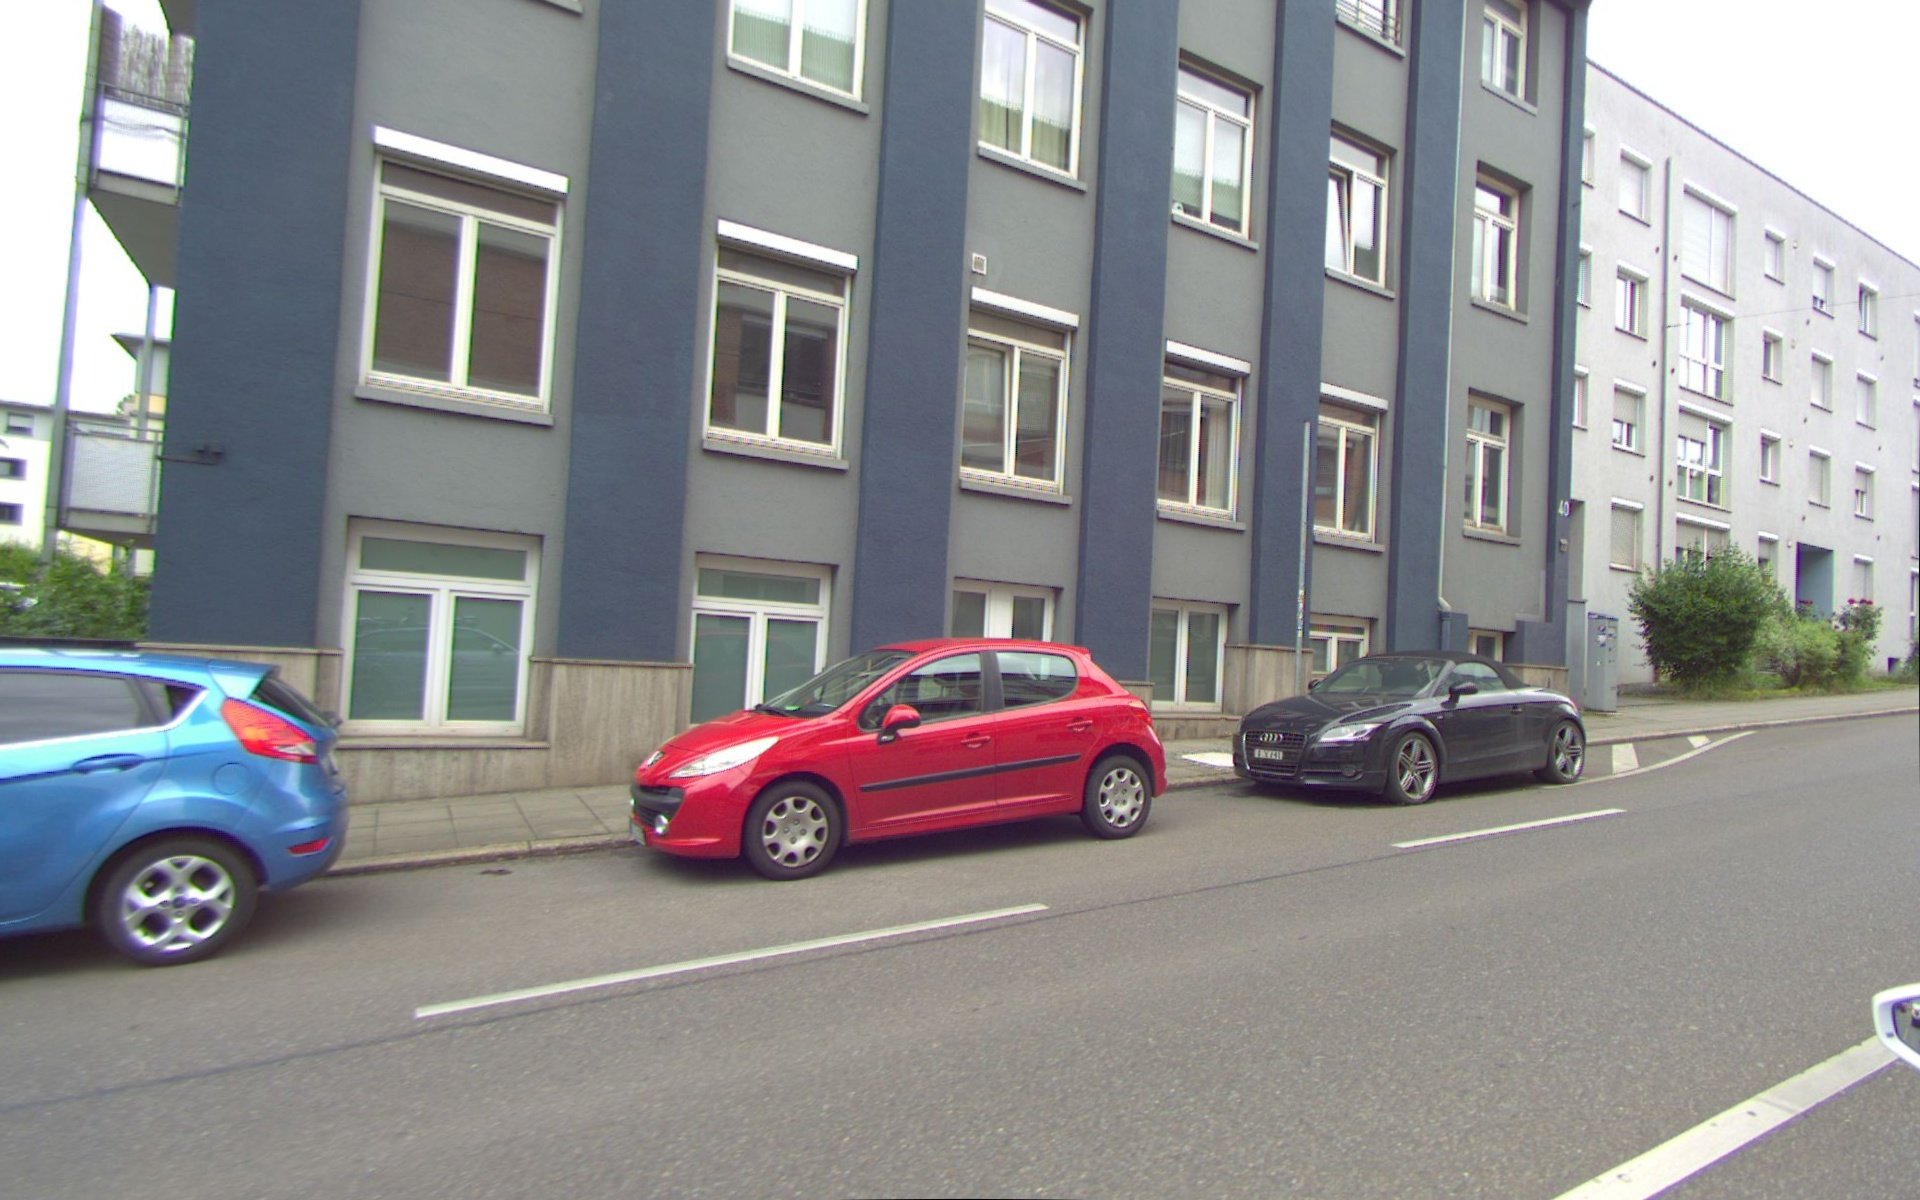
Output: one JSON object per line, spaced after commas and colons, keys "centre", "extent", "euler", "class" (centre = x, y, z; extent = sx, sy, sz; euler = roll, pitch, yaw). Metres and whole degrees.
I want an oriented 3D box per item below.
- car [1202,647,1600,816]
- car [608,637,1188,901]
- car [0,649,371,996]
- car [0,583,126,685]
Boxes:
{"centre": [4.458, 1.180, 10.068], "extent": [3.858, 1.358, 1.706], "euler": [1, -3, -30], "class": "car"}
{"centre": [-0.408, 1.035, 7.424], "extent": [3.940, 1.475, 1.707], "euler": [1, -3, -29], "class": "car"}
{"centre": [-5.045, 0.988, 4.671], "extent": [3.942, 1.442, 1.706], "euler": [1, -3, -30], "class": "car"}
{"centre": [-30.292, 0.949, 31.588], "extent": [5.731, 2.916, 2.397], "euler": [7, -3, -32], "class": "car"}
